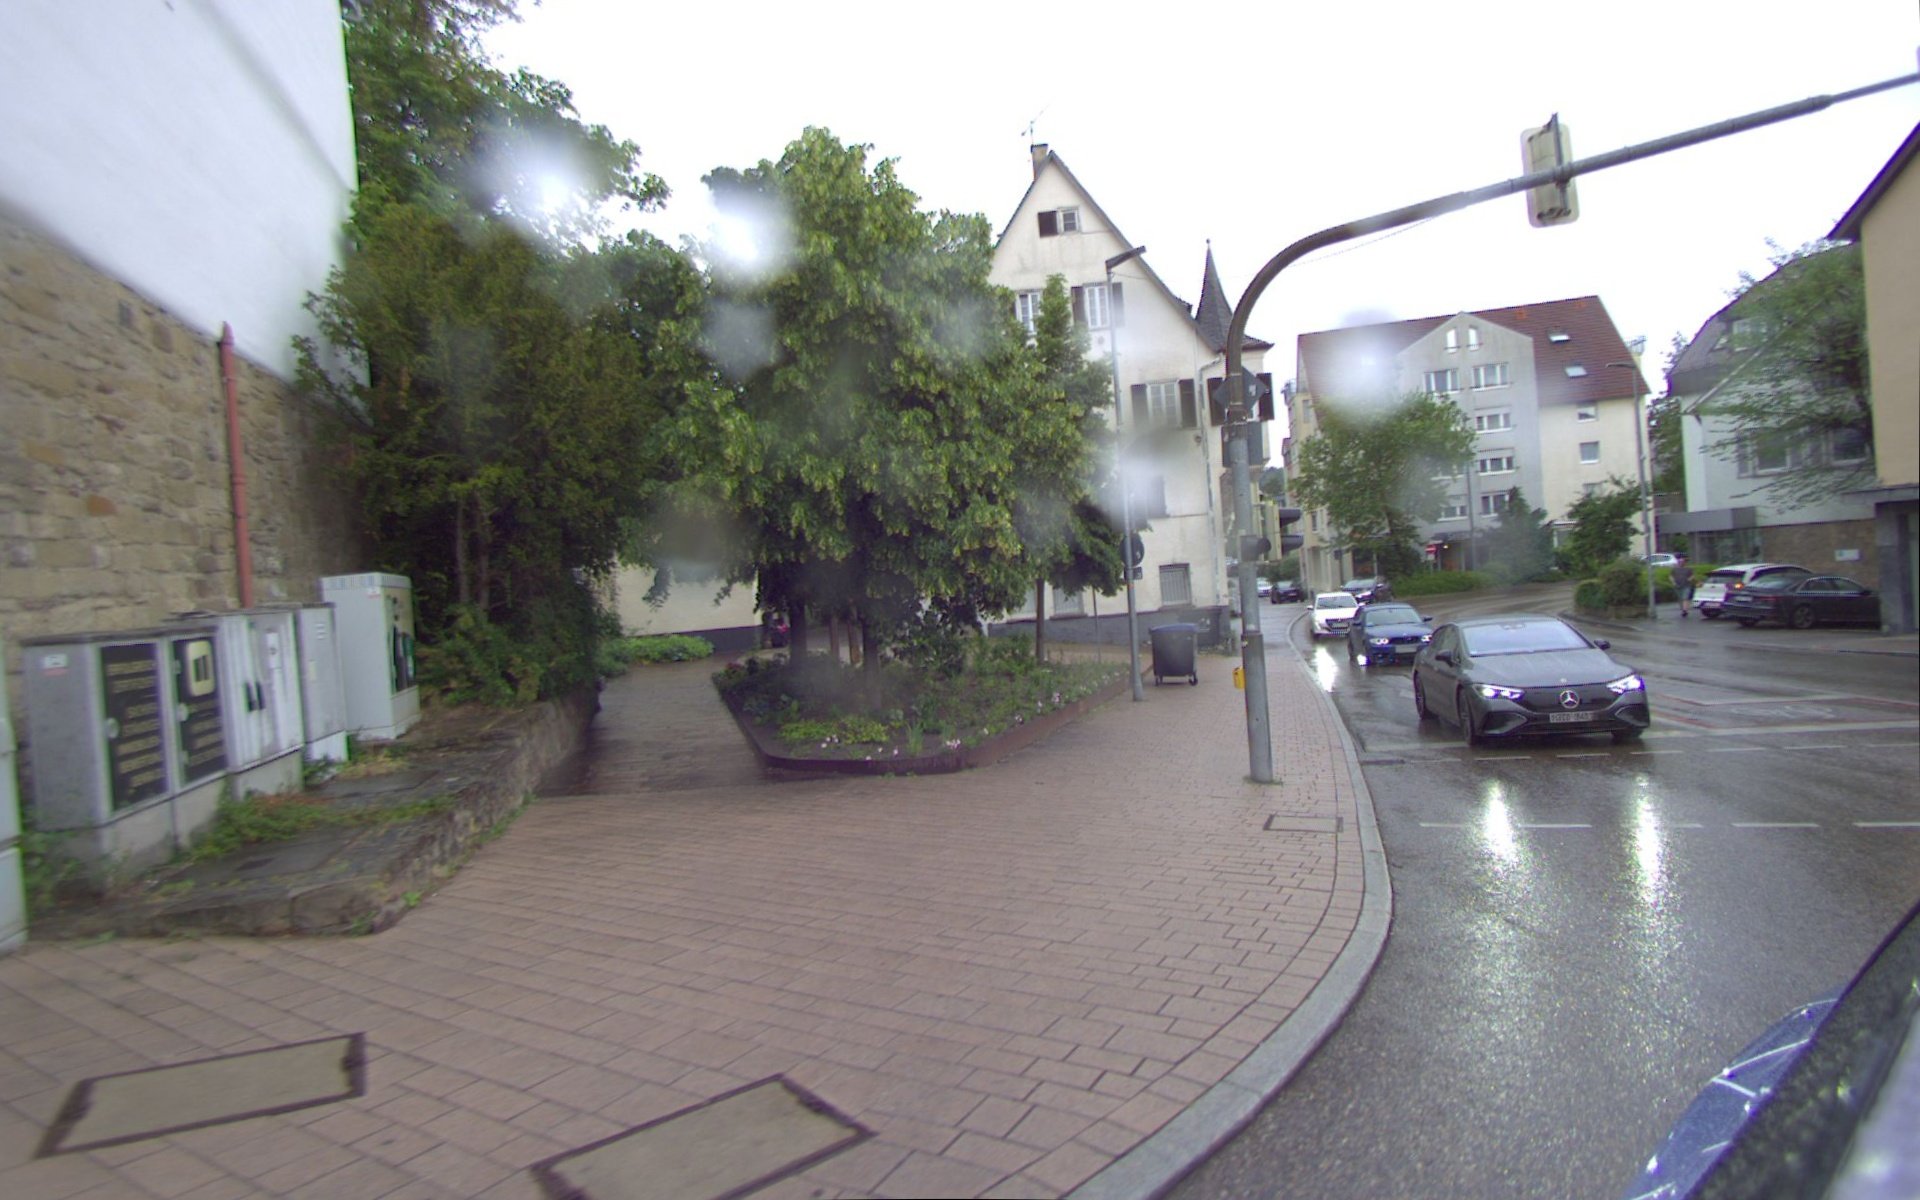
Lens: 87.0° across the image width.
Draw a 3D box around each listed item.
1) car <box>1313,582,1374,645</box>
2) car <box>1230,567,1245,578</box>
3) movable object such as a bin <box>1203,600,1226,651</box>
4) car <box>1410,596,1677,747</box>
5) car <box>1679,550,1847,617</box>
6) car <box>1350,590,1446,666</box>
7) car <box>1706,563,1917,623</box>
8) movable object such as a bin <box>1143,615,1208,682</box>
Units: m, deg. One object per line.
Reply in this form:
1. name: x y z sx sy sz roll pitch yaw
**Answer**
1. car: 13.319 0.426 35.269 1.792 1.583 3.979 -3 6 20
2. car: 45.299 -4.487 165.178 1.974 1.593 3.976 -4 0 19
3. movable object such as a bin: 7.359 0.723 29.240 0.405 1.460 0.645 -1 0 -9
4. car: 7.339 0.808 13.275 1.972 1.512 4.292 -4 0 16
5. car: 23.866 -0.486 30.141 3.571 1.649 2.004 -5 1 -11
6. car: 11.099 0.656 25.917 1.751 1.551 4.354 -4 1 18
7. car: 22.561 -0.162 26.935 3.924 1.473 1.899 0 -3 1
8. movable object such as a bin: 4.764 1.057 22.334 1.144 1.329 1.178 -4 0 21
